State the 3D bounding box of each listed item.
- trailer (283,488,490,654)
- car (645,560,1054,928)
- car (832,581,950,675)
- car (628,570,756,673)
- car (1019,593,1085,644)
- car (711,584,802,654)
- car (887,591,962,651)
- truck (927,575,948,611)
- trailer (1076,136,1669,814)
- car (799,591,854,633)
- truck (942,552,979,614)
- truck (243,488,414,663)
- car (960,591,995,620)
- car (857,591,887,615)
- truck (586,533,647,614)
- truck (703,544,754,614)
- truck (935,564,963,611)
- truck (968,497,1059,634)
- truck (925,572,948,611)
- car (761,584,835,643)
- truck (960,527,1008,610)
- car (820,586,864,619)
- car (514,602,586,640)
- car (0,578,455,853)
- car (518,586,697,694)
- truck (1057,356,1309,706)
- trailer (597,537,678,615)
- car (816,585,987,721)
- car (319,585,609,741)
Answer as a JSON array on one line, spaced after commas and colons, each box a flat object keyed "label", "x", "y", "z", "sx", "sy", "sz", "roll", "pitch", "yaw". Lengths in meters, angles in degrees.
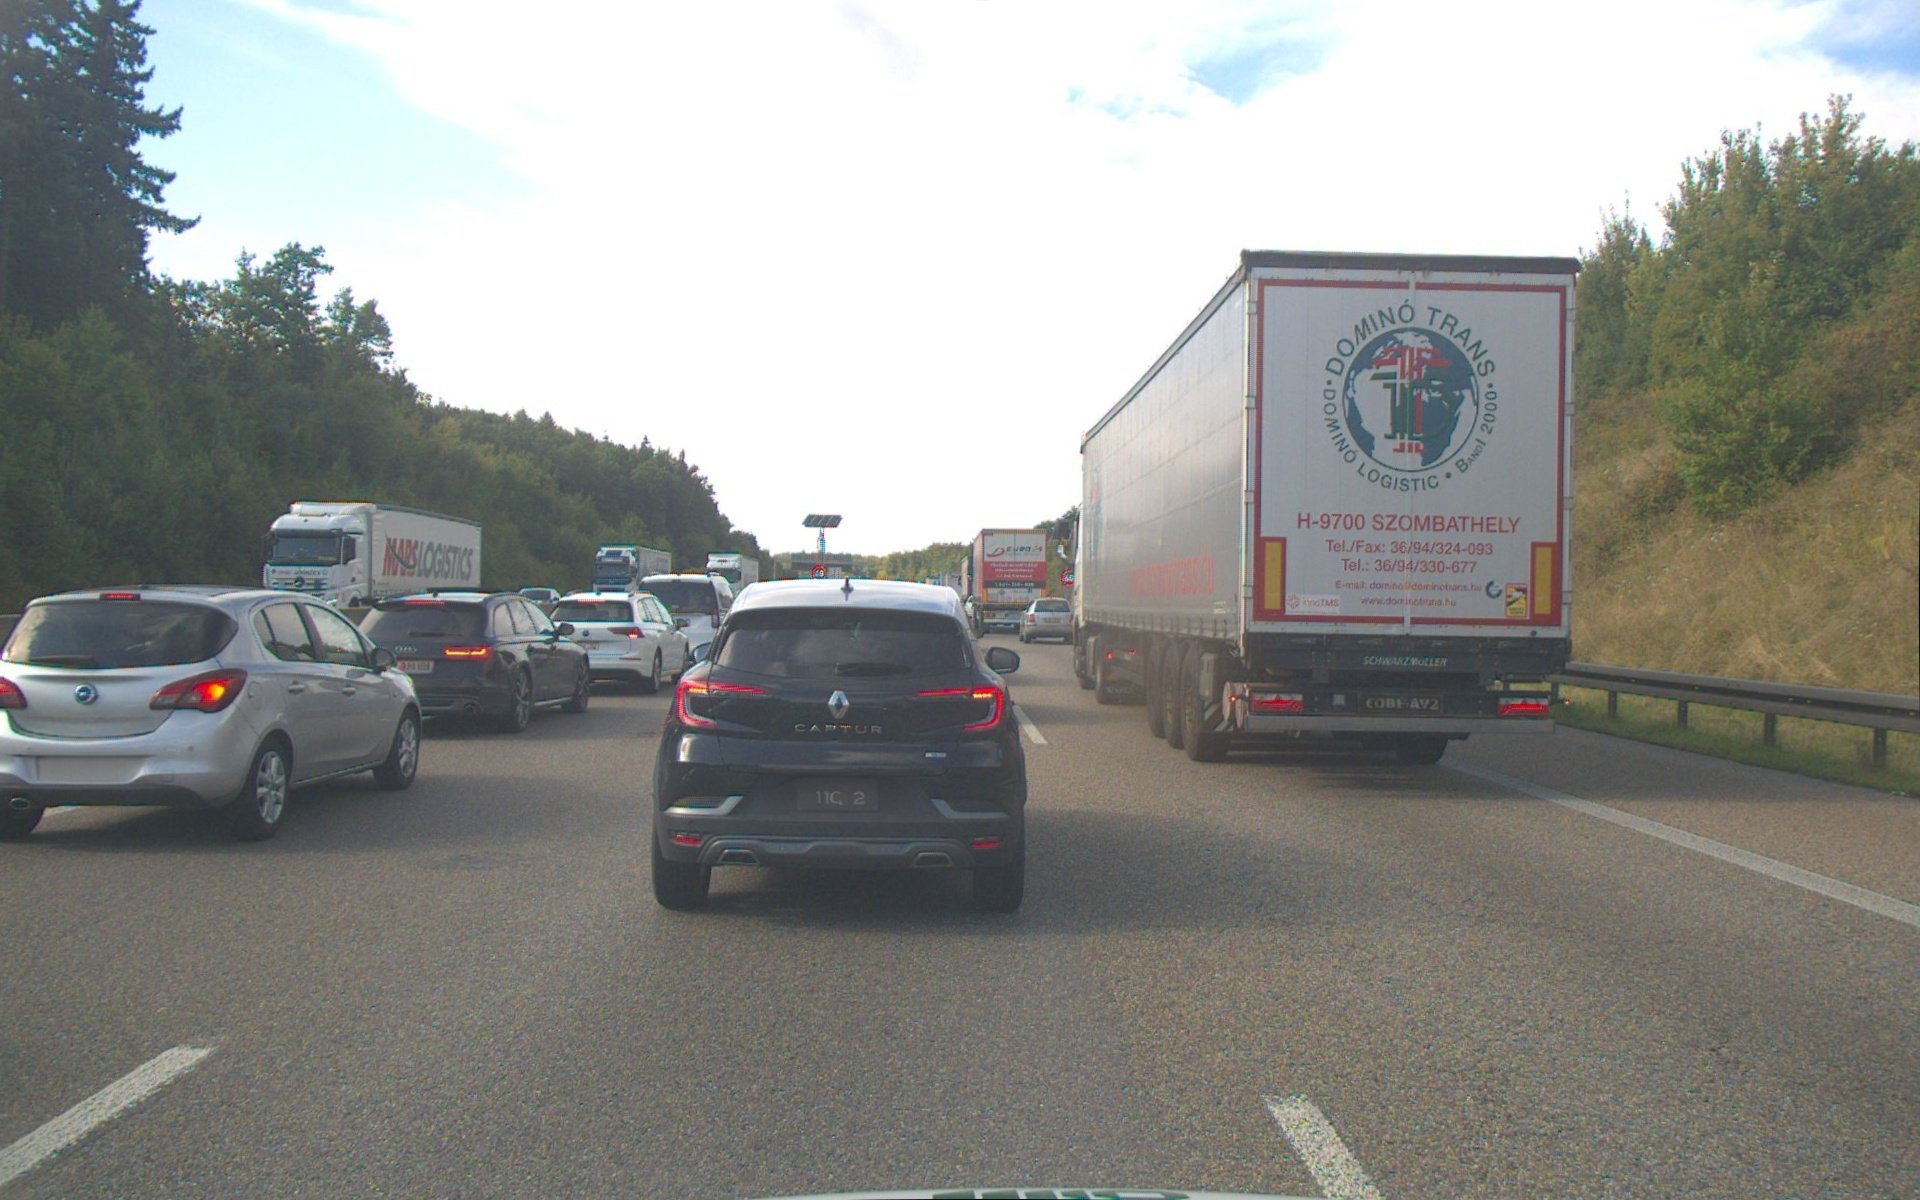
[{"label": "trailer", "x": -20.682, "y": -0.909, "z": 60.882, "sx": 2.980, "sy": 5.373, "sz": 13.831, "roll": 1, "pitch": 0, "yaw": -1}, {"label": "car", "x": -0.430, "y": 0.624, "z": 9.192, "sx": 1.767, "sy": 1.579, "sz": 4.001, "roll": 0, "pitch": 0, "yaw": 1}, {"label": "car", "x": -1.163, "y": 0.482, "z": 29.598, "sx": 1.953, "sy": 1.540, "sz": 3.999, "roll": 1, "pitch": 0, "yaw": 0}, {"label": "car", "x": -5.127, "y": 0.403, "z": 32.185, "sx": 1.873, "sy": 1.821, "sz": 4.416, "roll": 1, "pitch": 0, "yaw": -2}, {"label": "car", "x": 2.953, "y": 0.590, "z": 53.784, "sx": 1.768, "sy": 1.559, "sz": 3.924, "roll": 1, "pitch": 0, "yaw": -2}, {"label": "car", "x": -5.174, "y": 0.470, "z": 42.479, "sx": 1.817, "sy": 1.669, "sz": 3.925, "roll": 1, "pitch": 0, "yaw": 0}, {"label": "car", "x": -0.941, "y": 0.565, "z": 45.194, "sx": 1.953, "sy": 1.540, "sz": 3.999, "roll": 1, "pitch": 0, "yaw": 0}, {"label": "truck", "x": -3.603, "y": -1.077, "z": 263.066, "sx": 3.102, "sy": 5.601, "sz": 12.736, "roll": 1, "pitch": 0, "yaw": 0}, {"label": "trailer", "x": 3.391, "y": -0.911, "z": 18.335, "sx": 2.941, "sy": 4.742, "sz": 13.286, "roll": 1, "pitch": 0, "yaw": -1}, {"label": "car", "x": -5.482, "y": 0.498, "z": 68.569, "sx": 1.953, "sy": 1.641, "sz": 3.999, "roll": 1, "pitch": 0, "yaw": 0}, {"label": "truck", "x": 0.095, "y": -1.514, "z": 156.856, "sx": 3.101, "sy": 5.601, "sz": 12.739, "roll": 1, "pitch": 0, "yaw": 1}, {"label": "truck", "x": -20.567, "y": -0.730, "z": 54.354, "sx": 2.977, "sy": 5.344, "sz": 6.881, "roll": 1, "pitch": 0, "yaw": -1}, {"label": "car", "x": 1.024, "y": 0.313, "z": 96.777, "sx": 1.953, "sy": 1.641, "sz": 4.000, "roll": 1, "pitch": 0, "yaw": 0}, {"label": "car", "x": -6.239, "y": 0.180, "z": 117.766, "sx": 1.953, "sy": 1.641, "sz": 4.000, "roll": 1, "pitch": 0, "yaw": 0}, {"label": "truck", "x": -21.627, "y": -1.624, "z": 104.384, "sx": 2.872, "sy": 4.943, "sz": 4.764, "roll": 1, "pitch": 0, "yaw": -1}, {"label": "truck", "x": -17.801, "y": -1.559, "z": 127.612, "sx": 3.025, "sy": 5.190, "sz": 7.139, "roll": 1, "pitch": 0, "yaw": -1}, {"label": "truck", "x": -1.241, "y": -1.397, "z": 191.641, "sx": 3.102, "sy": 5.250, "sz": 12.736, "roll": 1, "pitch": 0, "yaw": 0}, {"label": "truck", "x": 2.043, "y": -1.283, "z": 69.129, "sx": 3.296, "sy": 5.132, "sz": 12.736, "roll": 1, "pitch": 0, "yaw": 0}, {"label": "truck", "x": -3.463, "y": -1.166, "z": 245.036, "sx": 3.102, "sy": 5.601, "sz": 12.736, "roll": 1, "pitch": 0, "yaw": 0}, {"label": "car", "x": -5.109, "y": 0.424, "z": 52.663, "sx": 1.953, "sy": 1.752, "sz": 3.999, "roll": 1, "pitch": 0, "yaw": 0}, {"label": "truck", "x": 1.628, "y": -2.121, "z": 118.783, "sx": 3.102, "sy": 5.601, "sz": 12.736, "roll": 1, "pitch": 0, "yaw": 0}, {"label": "car", "x": -5.942, "y": 0.118, "z": 83.663, "sx": 1.953, "sy": 1.641, "sz": 4.000, "roll": 1, "pitch": 0, "yaw": 0}, {"label": "car", "x": -16.797, "y": 0.832, "z": 67.903, "sx": 1.914, "sy": 1.453, "sz": 4.323, "roll": 1, "pitch": 0, "yaw": -1}, {"label": "car", "x": -4.806, "y": 0.612, "z": 11.000, "sx": 1.711, "sy": 1.491, "sz": 4.040, "roll": 0, "pitch": 0, "yaw": -1}, {"label": "car", "x": -5.241, "y": 0.567, "z": 25.158, "sx": 1.767, "sy": 1.486, "sz": 4.308, "roll": 1, "pitch": 0, "yaw": 0}, {"label": "truck", "x": 3.234, "y": -0.956, "z": 25.595, "sx": 2.936, "sy": 4.749, "sz": 5.938, "roll": 1, "pitch": 0, "yaw": -1}, {"label": "trailer", "x": -21.711, "y": -1.507, "z": 112.326, "sx": 2.867, "sy": 4.914, "sz": 14.649, "roll": 1, "pitch": 0, "yaw": -1}, {"label": "car", "x": -0.686, "y": 0.623, "z": 21.085, "sx": 1.953, "sy": 1.540, "sz": 3.999, "roll": 1, "pitch": 0, "yaw": 0}, {"label": "car", "x": -5.304, "y": 0.599, "z": 18.386, "sx": 1.805, "sy": 1.481, "sz": 4.747, "roll": 1, "pitch": 0, "yaw": -1}]
